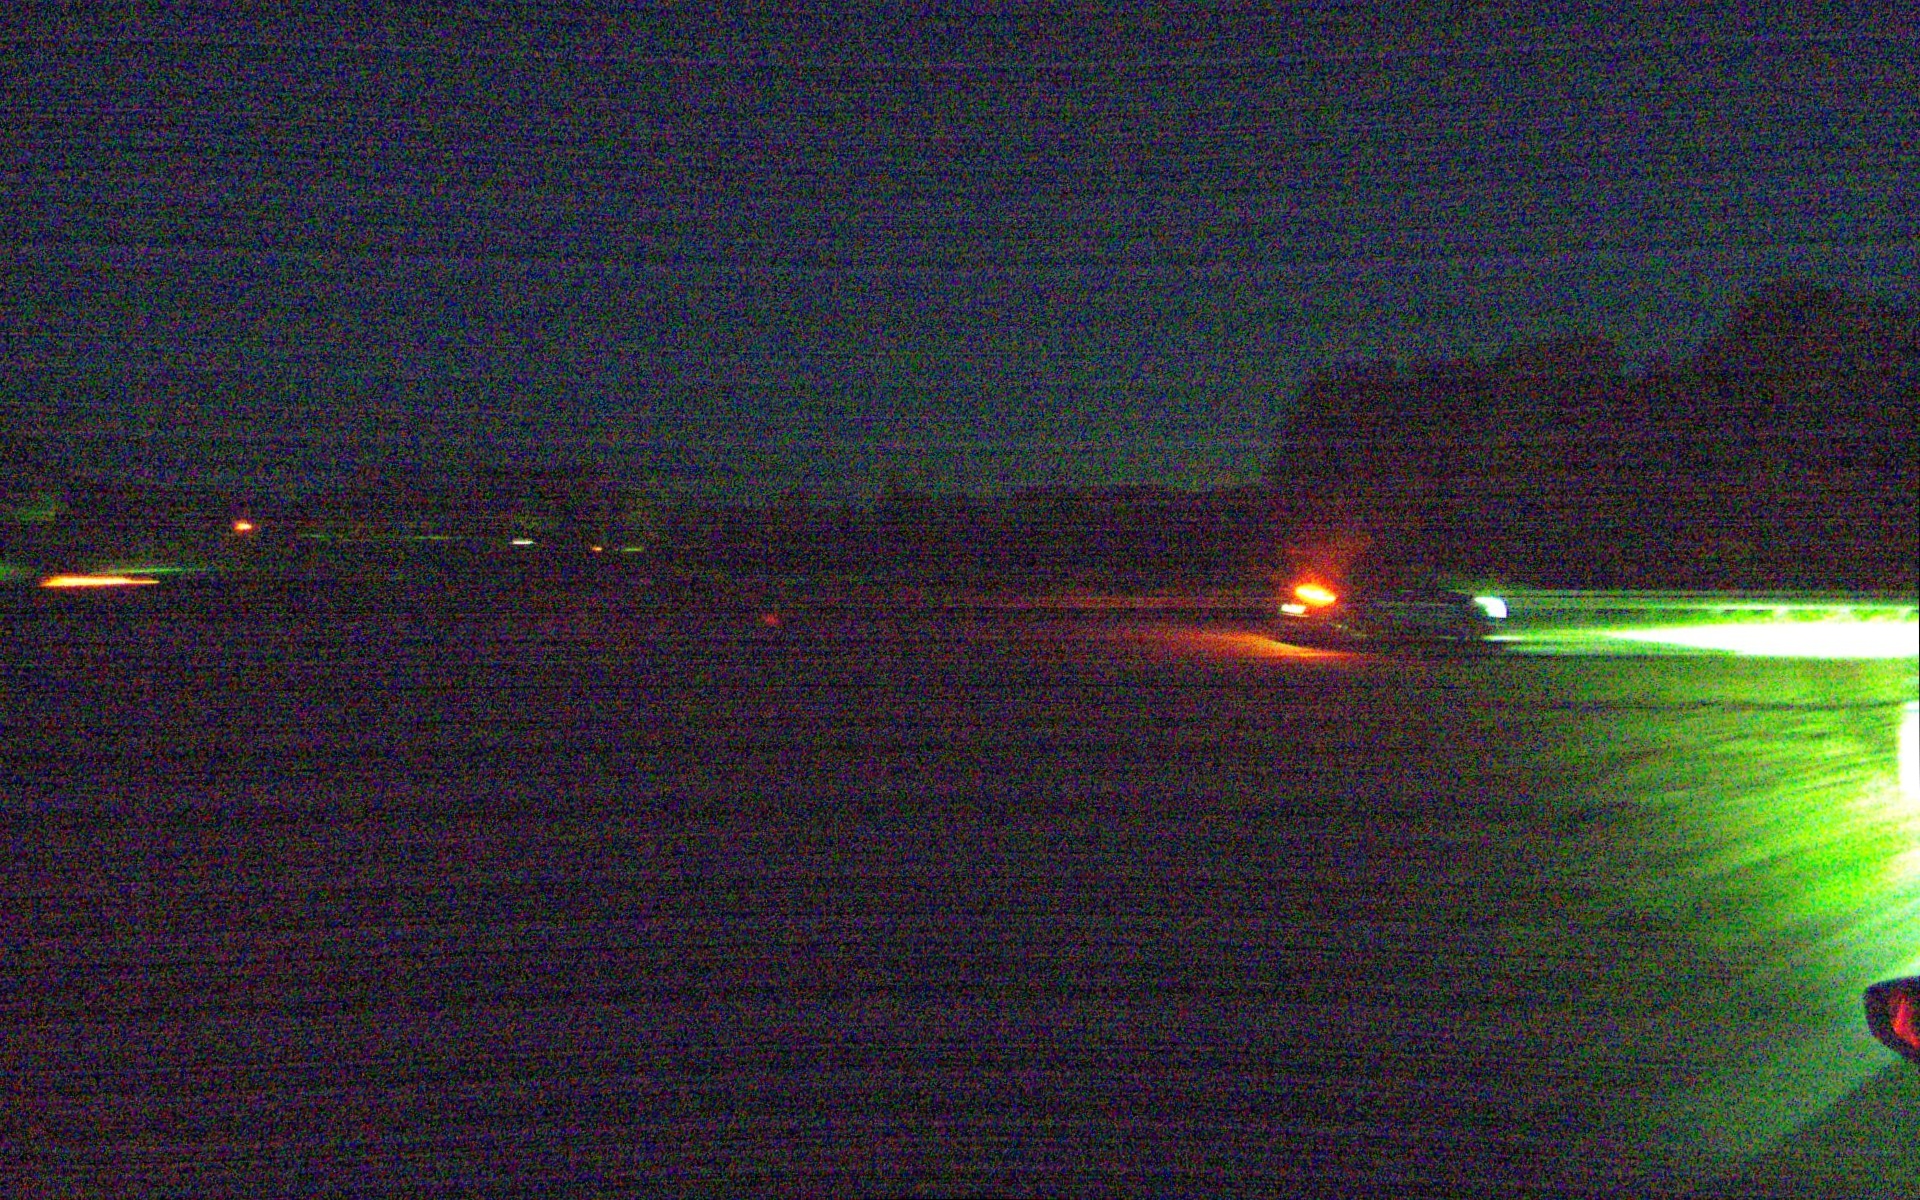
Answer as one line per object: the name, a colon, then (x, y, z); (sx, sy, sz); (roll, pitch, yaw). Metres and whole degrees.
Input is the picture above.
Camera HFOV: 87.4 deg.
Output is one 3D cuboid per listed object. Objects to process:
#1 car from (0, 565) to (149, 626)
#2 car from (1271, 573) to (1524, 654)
car: (-29.086, -0.138, 32.595); (3.924, 1.911, 1.815); (0, 0, -5)
car: (9.250, 0.263, 21.460); (4.555, 1.630, 1.945); (0, 2, -5)
